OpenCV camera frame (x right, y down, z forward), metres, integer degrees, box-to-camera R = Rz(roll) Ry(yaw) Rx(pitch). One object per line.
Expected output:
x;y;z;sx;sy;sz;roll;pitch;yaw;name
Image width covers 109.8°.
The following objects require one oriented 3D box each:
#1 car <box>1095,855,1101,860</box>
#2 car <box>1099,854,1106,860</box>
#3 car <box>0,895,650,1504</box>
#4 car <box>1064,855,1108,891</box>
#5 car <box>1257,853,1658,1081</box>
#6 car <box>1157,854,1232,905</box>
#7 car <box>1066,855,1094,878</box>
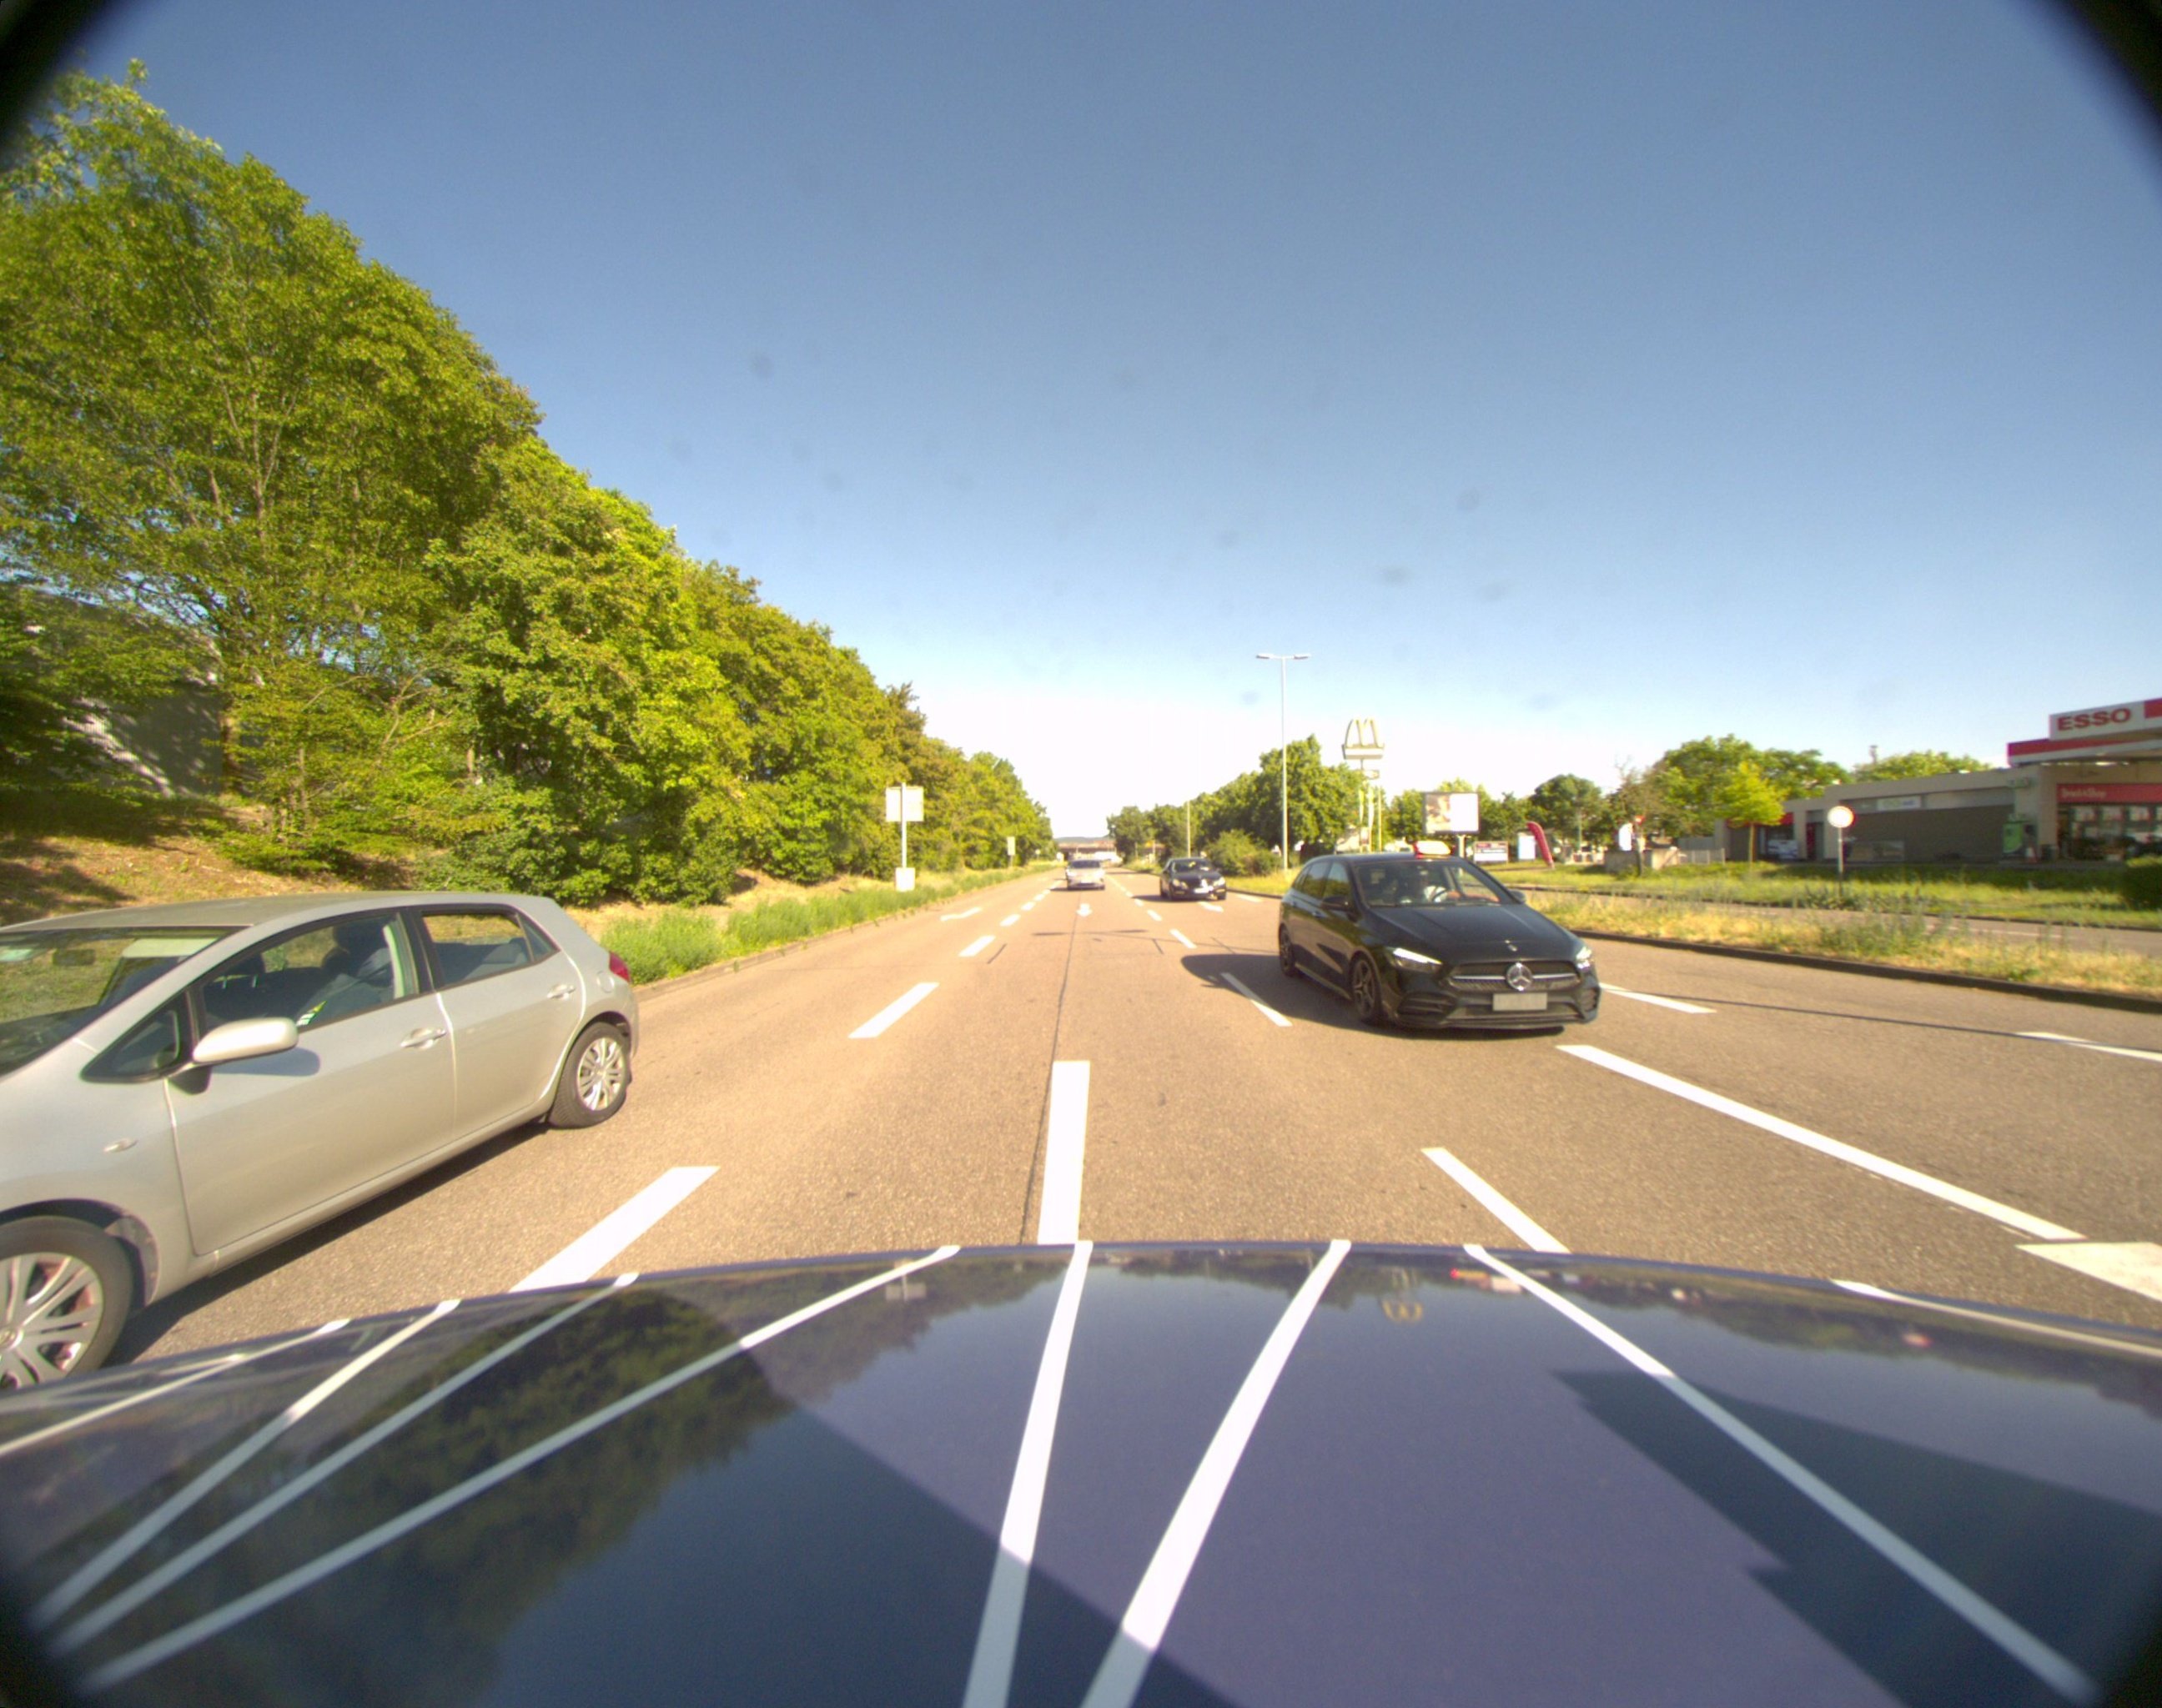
5.450;1.193;246.595;1.998;1.433;4.000;-1;0;1;car
5.850;0.809;206.613;1.998;1.433;4.000;-1;0;1;car
-3.903;1.074;3.151;1.788;1.528;4.108;-2;0;1;car
0.260;0.911;38.390;2.025;1.601;4.098;-2;0;1;car
3.247;0.816;7.764;1.788;1.592;4.583;-2;0;0;car
3.866;0.809;26.522;1.953;1.501;4.462;-2;1;1;car
-0.050;0.947;58.614;2.036;1.601;4.098;-2;0;1;car
